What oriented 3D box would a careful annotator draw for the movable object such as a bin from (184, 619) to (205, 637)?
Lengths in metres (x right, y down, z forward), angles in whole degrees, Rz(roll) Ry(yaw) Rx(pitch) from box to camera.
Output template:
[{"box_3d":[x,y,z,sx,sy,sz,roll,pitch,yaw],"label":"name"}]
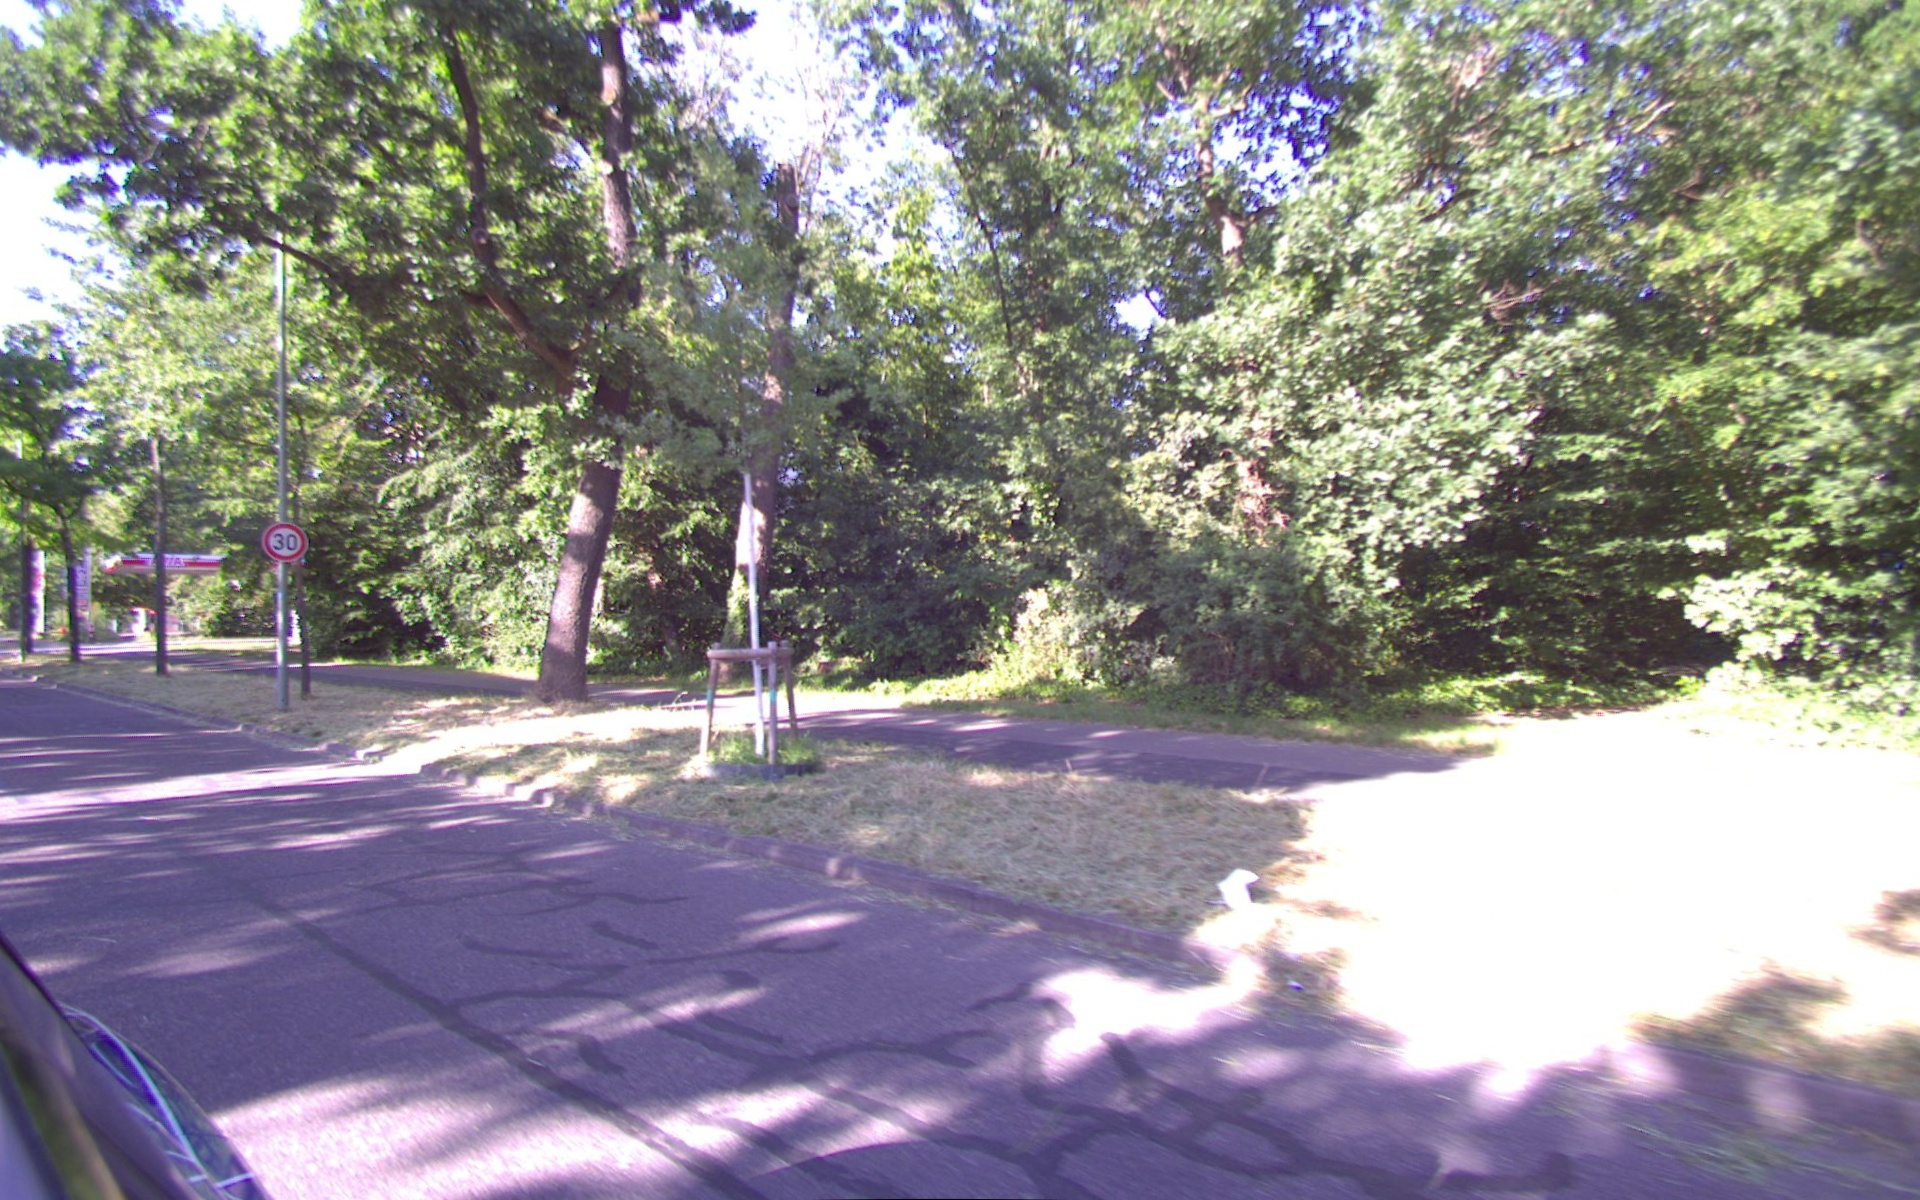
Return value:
[{"box_3d":[-67.625,2.440,89.422,1.267,1.553,1.290,-1,-1,42],"label":"movable object such as a bin"}]
